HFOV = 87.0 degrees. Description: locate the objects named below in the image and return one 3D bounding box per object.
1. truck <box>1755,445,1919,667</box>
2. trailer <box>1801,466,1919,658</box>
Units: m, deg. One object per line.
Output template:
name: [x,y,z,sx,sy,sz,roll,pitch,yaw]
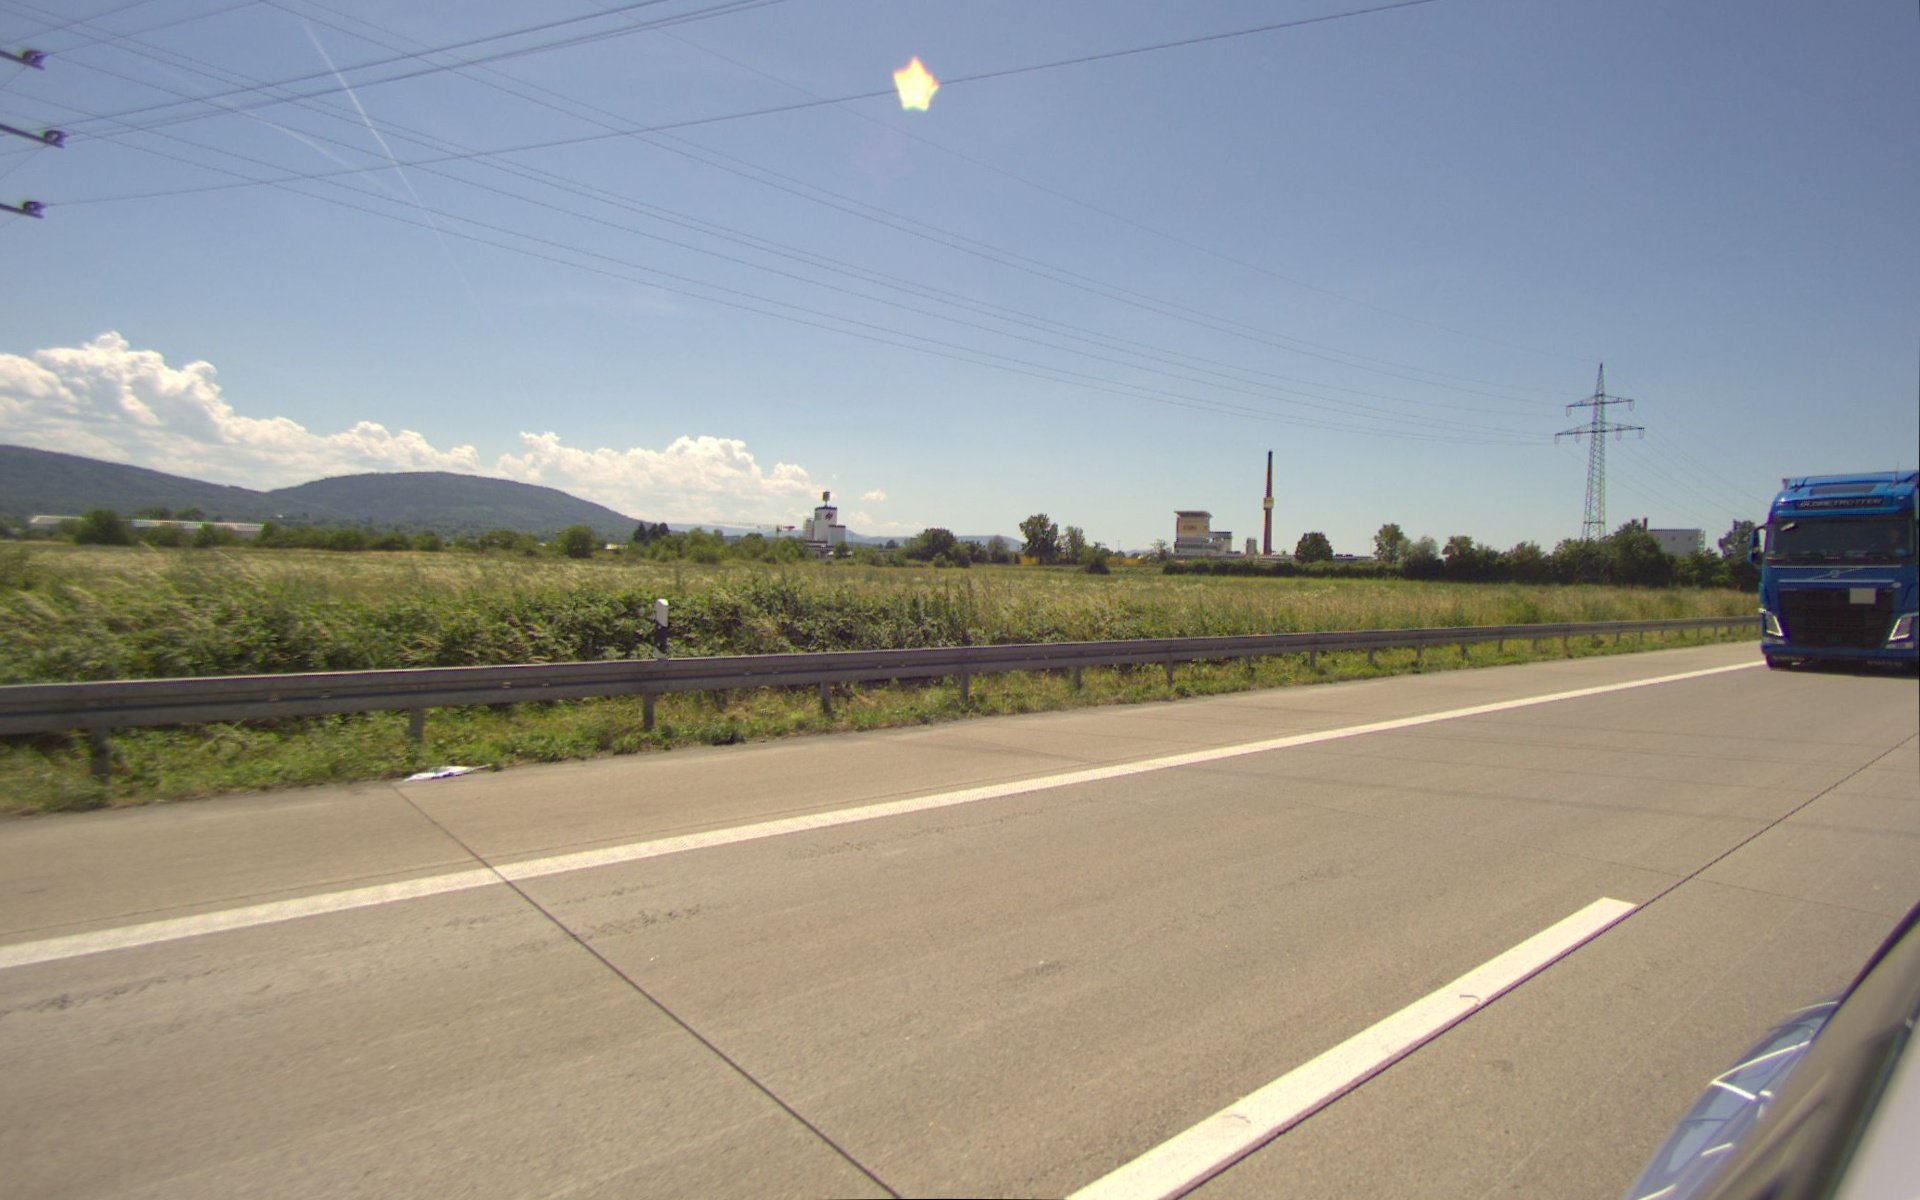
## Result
truck: [19.066,-0.841,21.226,5.369,4.094,2.756,0,0,-40]
trailer: [24.768,-0.850,26.164,12.677,4.094,2.713,0,0,-41]
